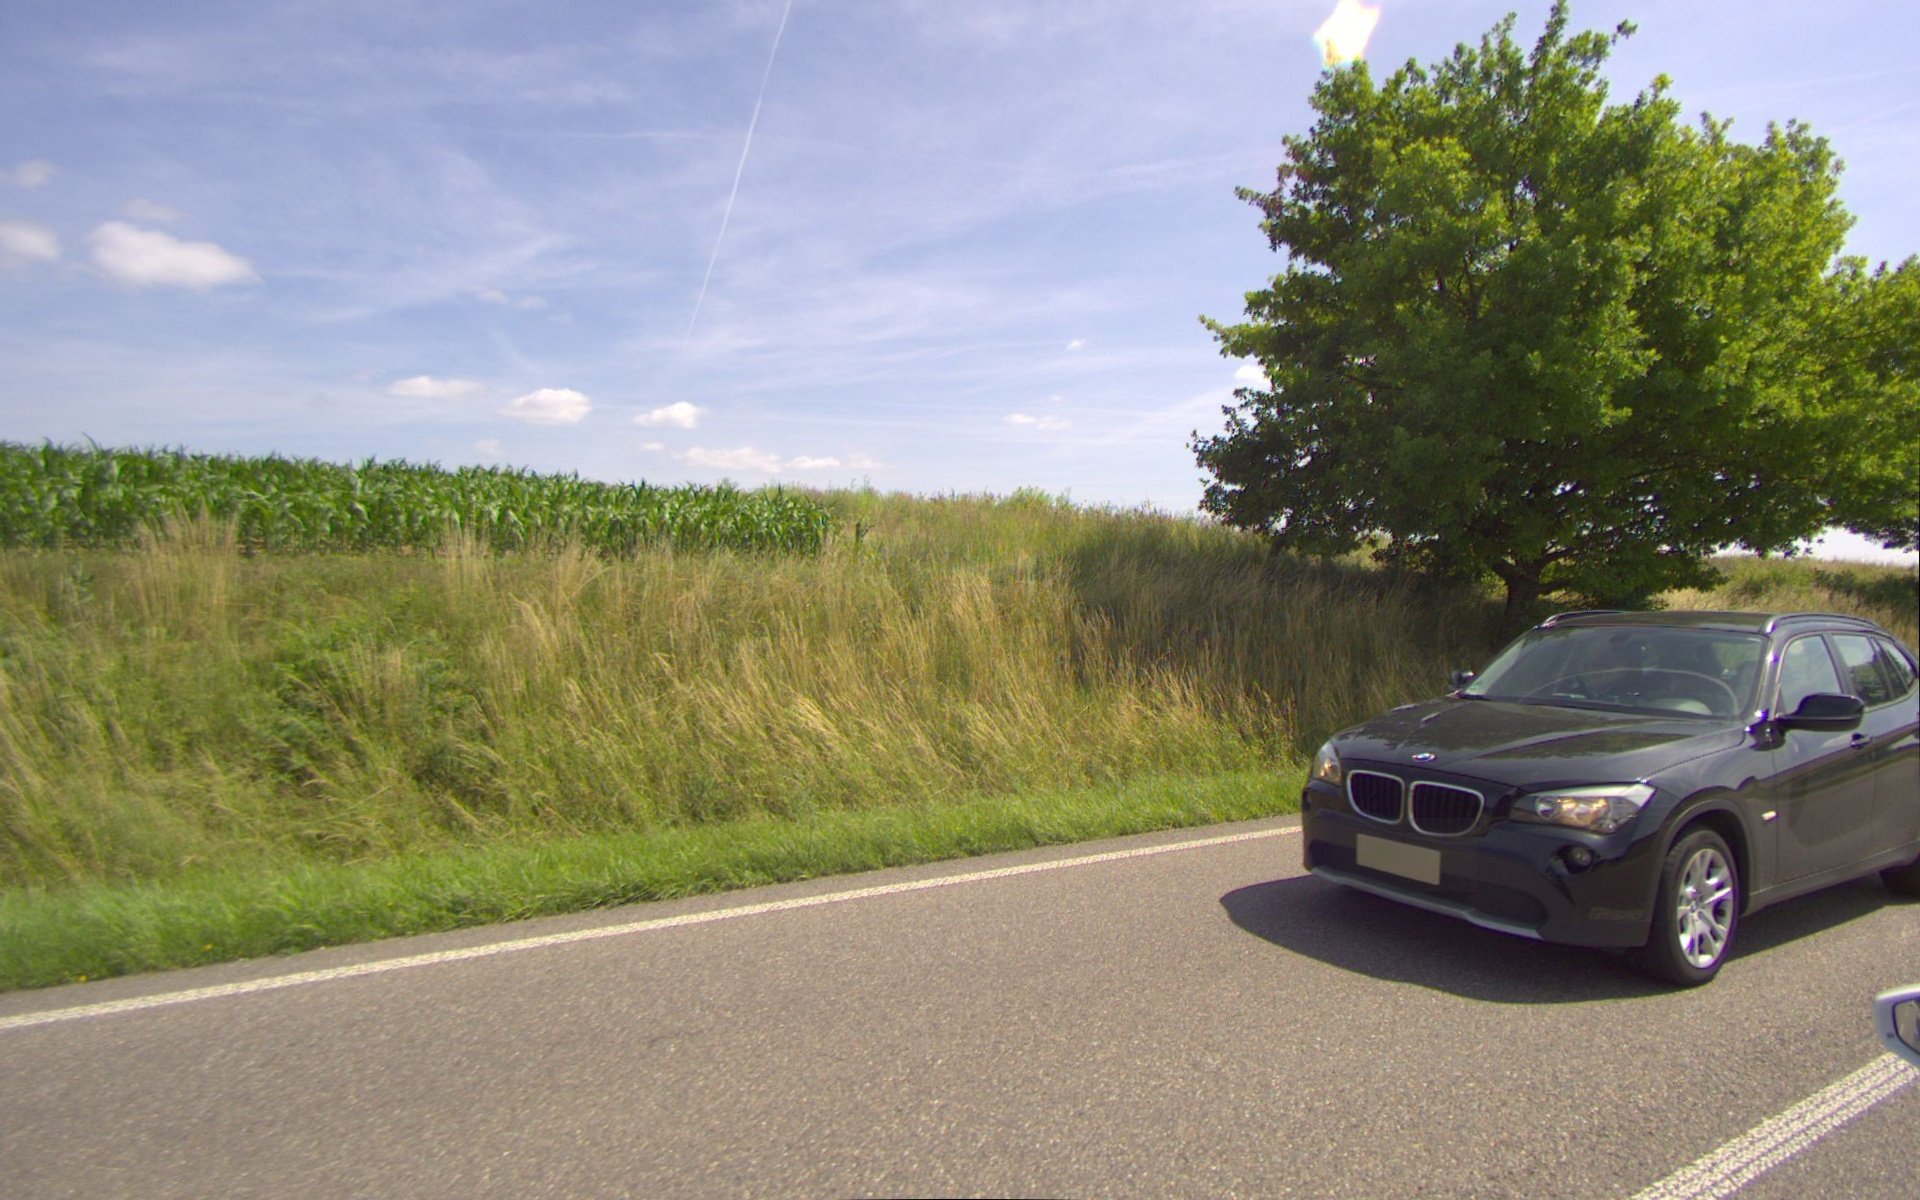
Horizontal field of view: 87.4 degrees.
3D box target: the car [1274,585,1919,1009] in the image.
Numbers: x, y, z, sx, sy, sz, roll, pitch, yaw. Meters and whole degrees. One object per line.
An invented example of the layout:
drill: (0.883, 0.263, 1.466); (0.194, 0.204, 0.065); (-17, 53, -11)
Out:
car: (3.863, 0.763, 5.512); (4.307, 1.554, 1.648); (1, -1, -31)
